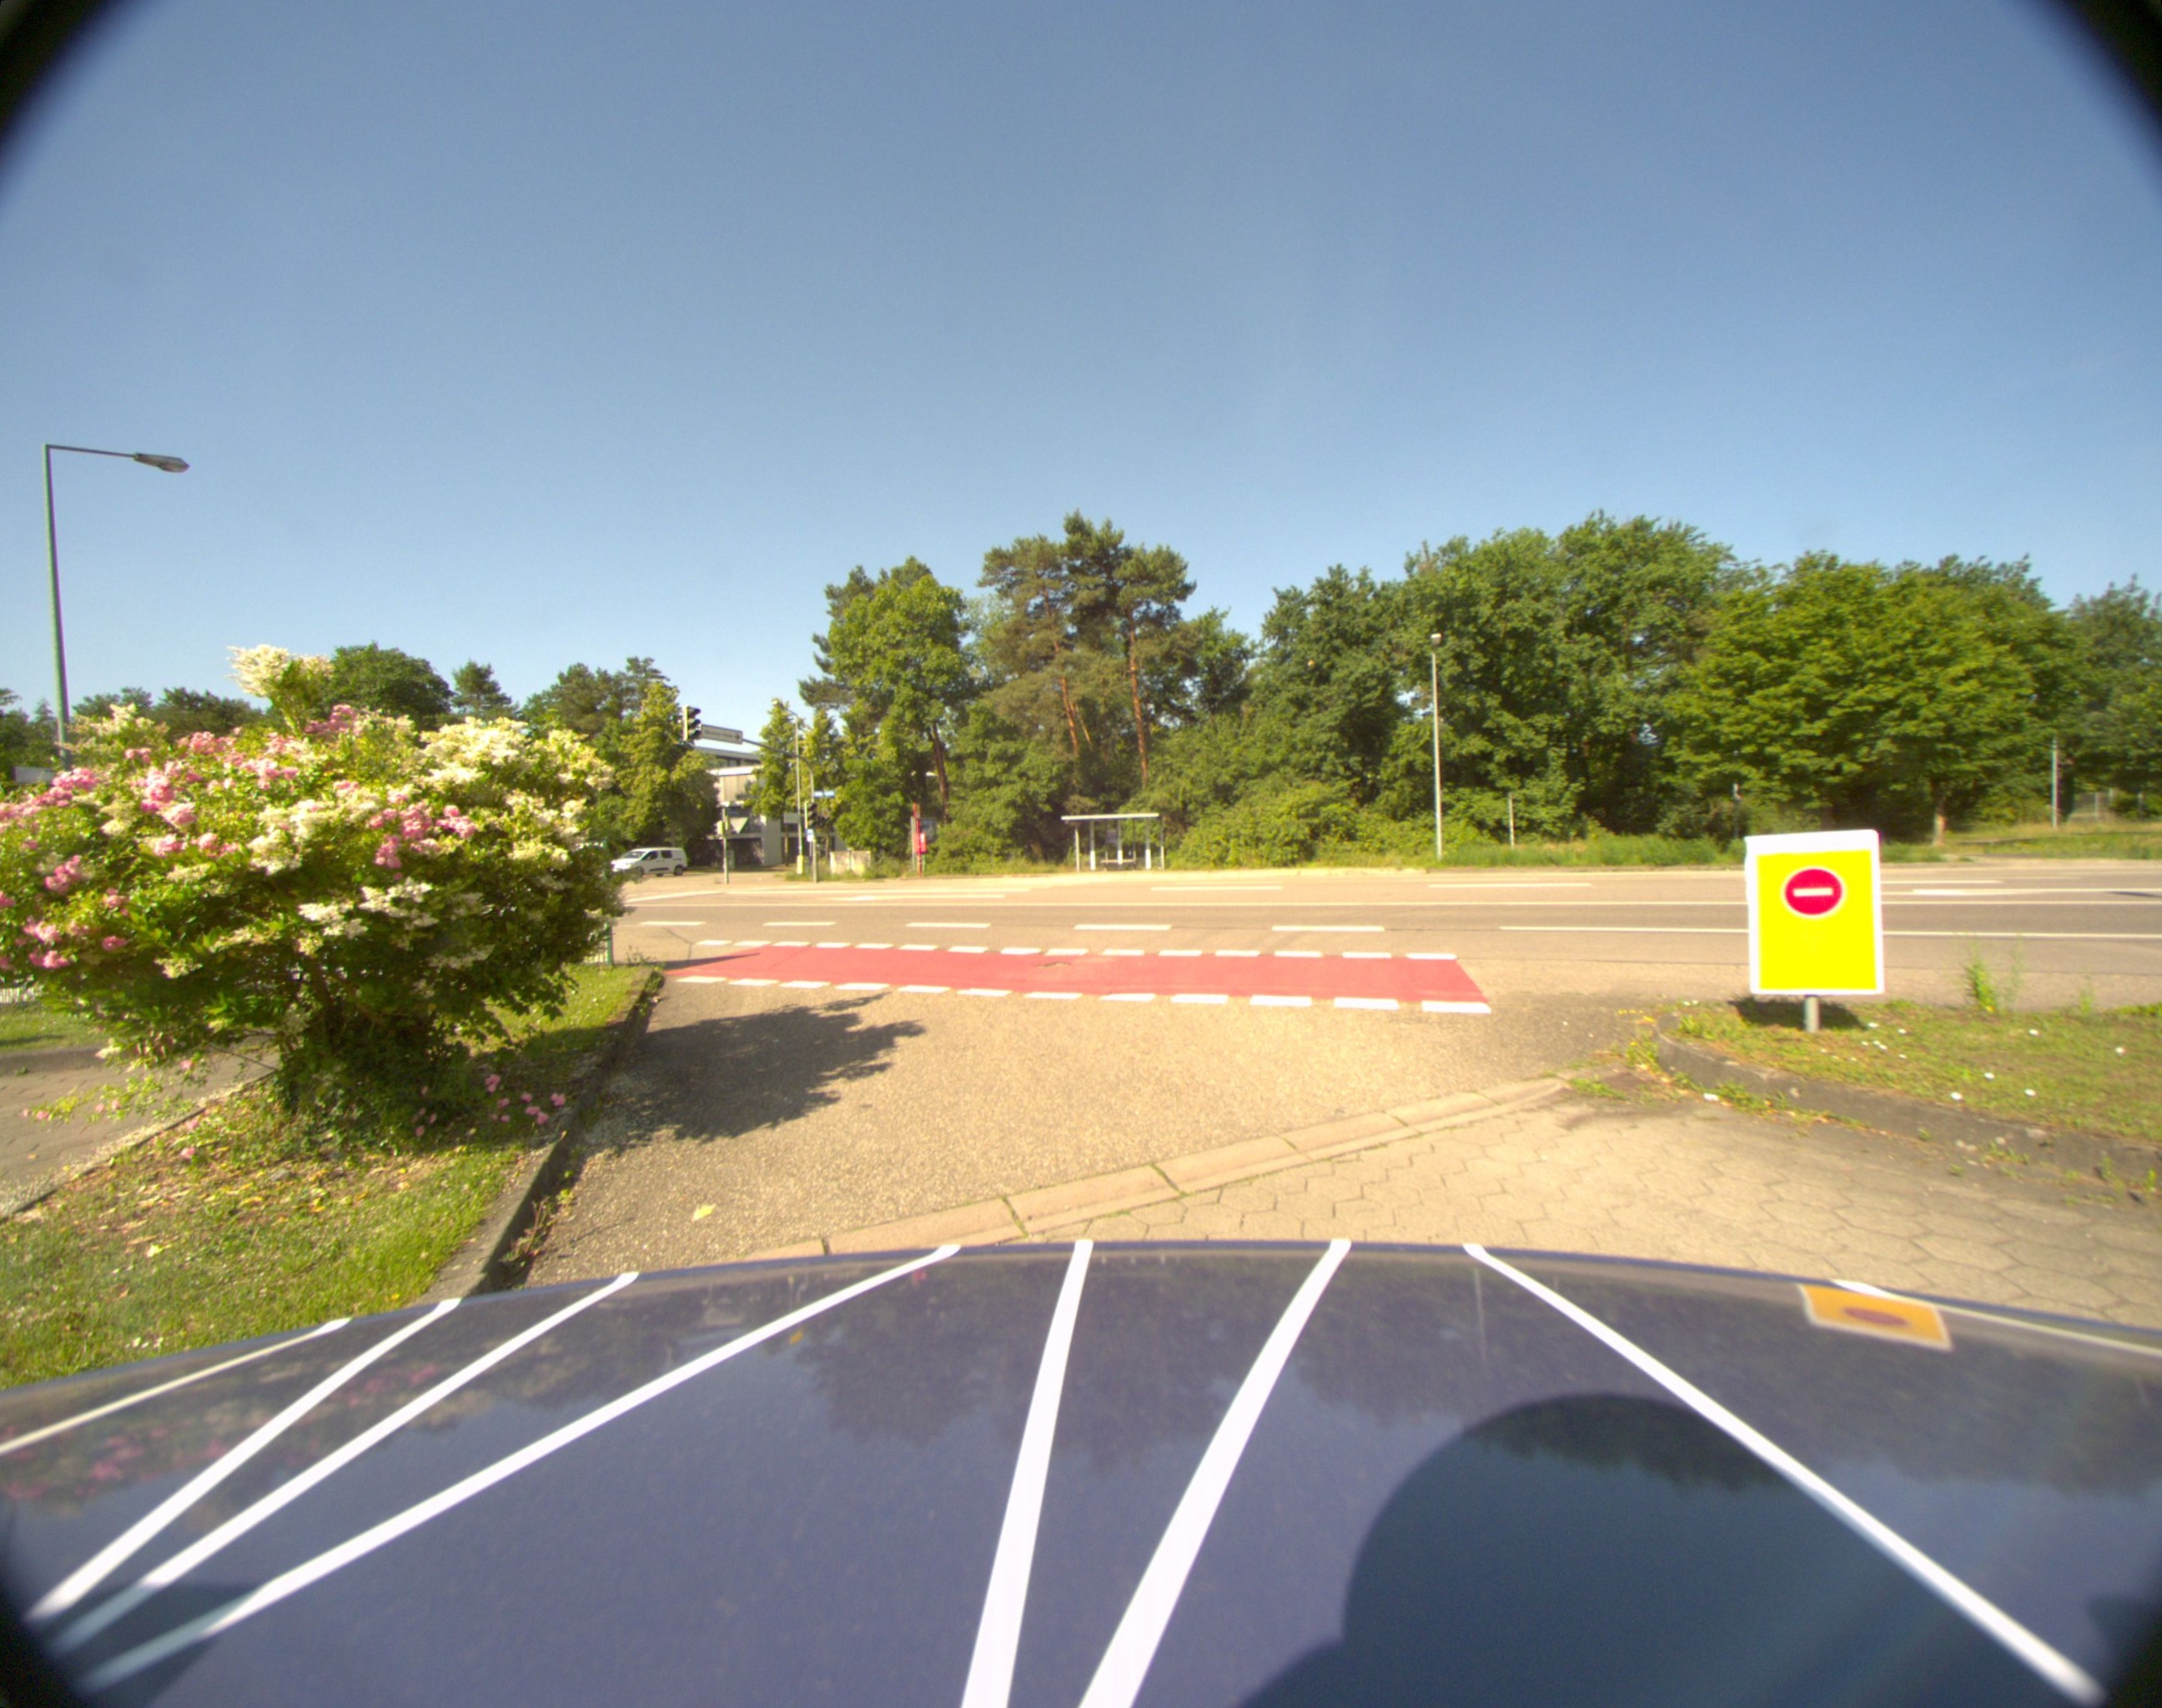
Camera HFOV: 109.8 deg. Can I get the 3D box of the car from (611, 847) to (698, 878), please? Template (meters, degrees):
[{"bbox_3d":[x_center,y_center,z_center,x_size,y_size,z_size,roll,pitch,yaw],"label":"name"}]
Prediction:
[{"bbox_3d":[-26.317,0.474,47.081,1.848,1.767,4.667,-1,1,19],"label":"car"}]
